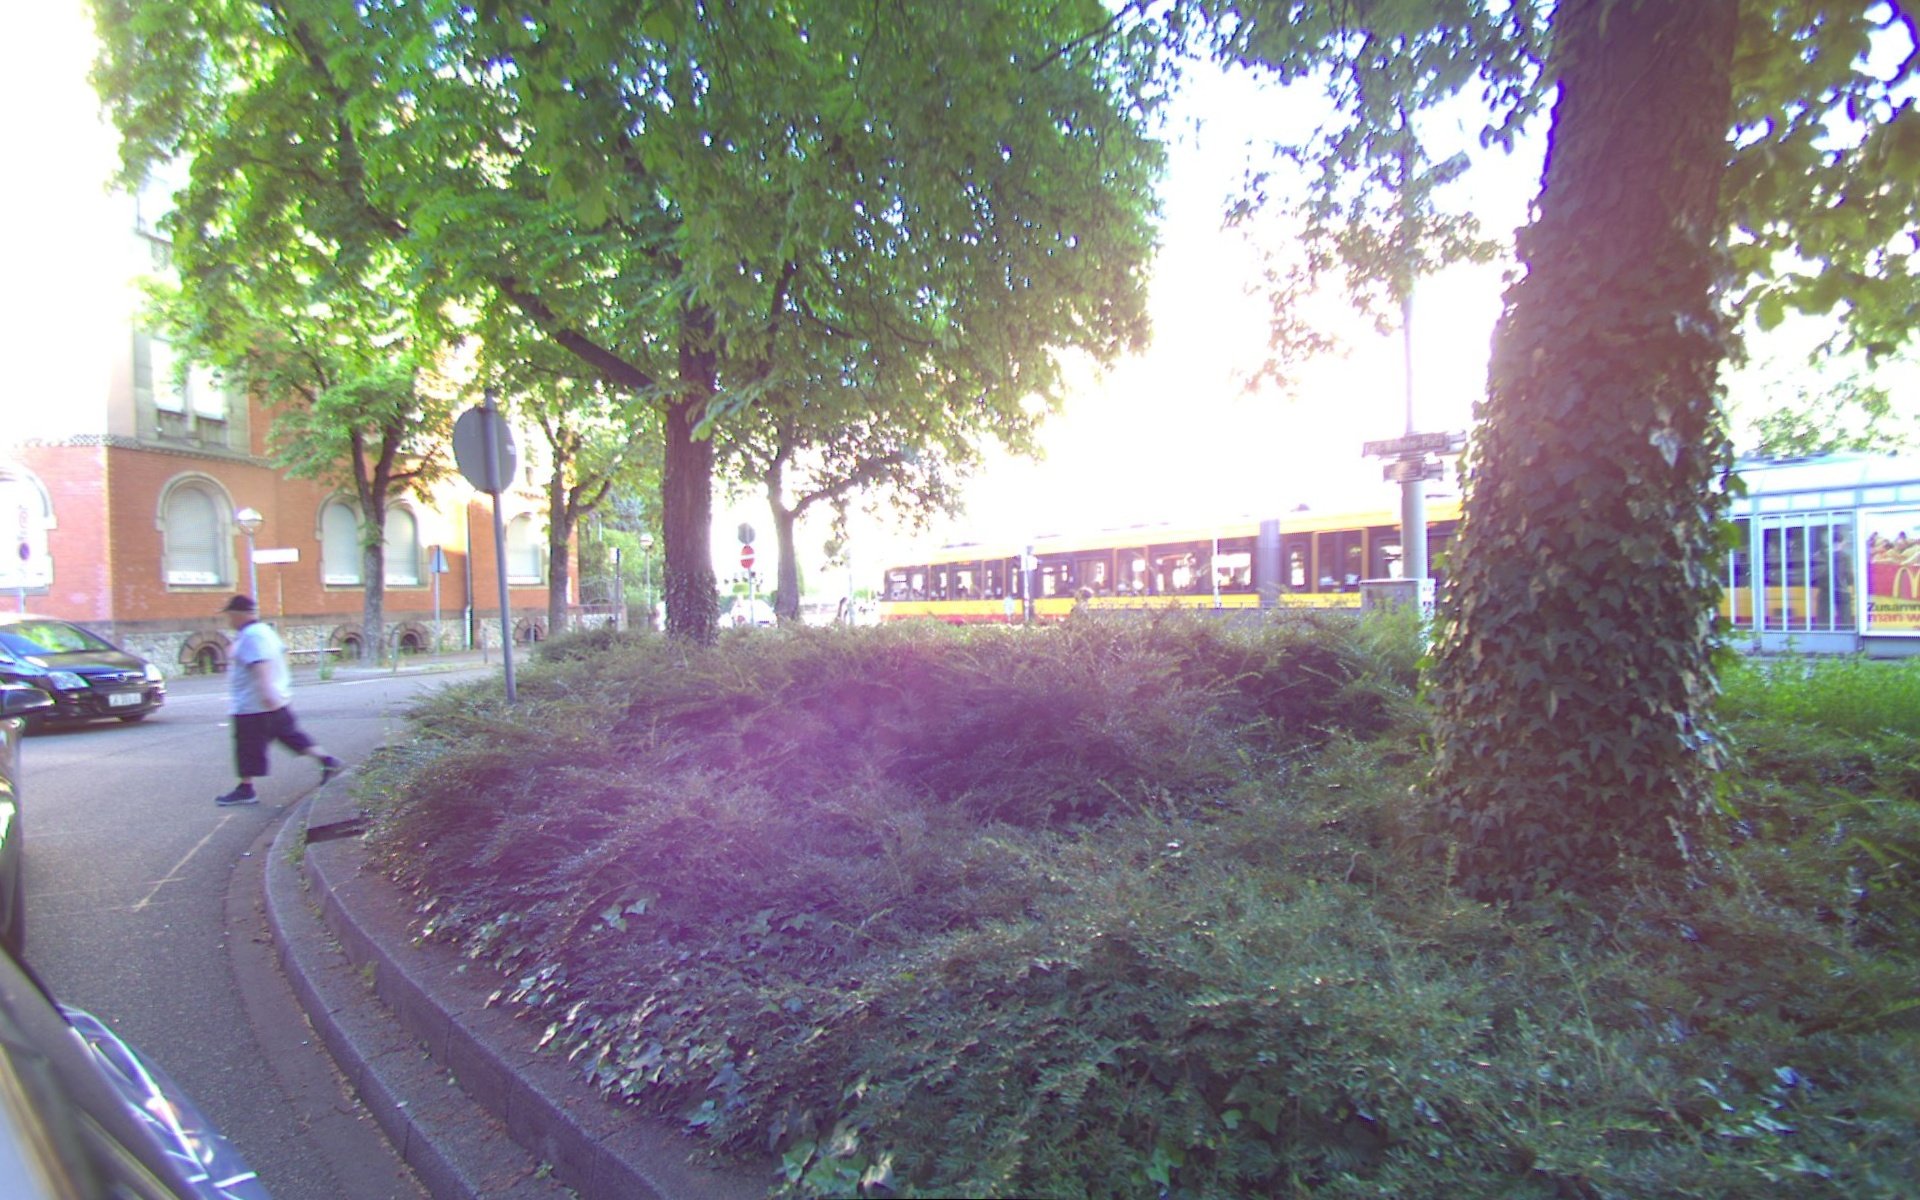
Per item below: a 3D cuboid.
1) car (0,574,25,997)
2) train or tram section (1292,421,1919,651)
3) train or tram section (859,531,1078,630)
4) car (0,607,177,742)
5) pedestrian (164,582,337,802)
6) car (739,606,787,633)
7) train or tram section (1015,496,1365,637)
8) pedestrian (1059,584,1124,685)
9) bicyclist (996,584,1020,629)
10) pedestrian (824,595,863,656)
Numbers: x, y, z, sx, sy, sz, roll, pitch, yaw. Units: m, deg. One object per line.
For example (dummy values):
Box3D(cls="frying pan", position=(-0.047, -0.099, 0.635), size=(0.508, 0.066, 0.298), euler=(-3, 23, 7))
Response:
Box3D(cls="car", position=(-5.682, 0.751, 4.796), size=(1.768, 1.590, 4.264), euler=(-1, -1, -44))
Box3D(cls="train or tram section", position=(12.911, -0.978, 21.769), size=(2.753, 3.647, 11.834), euler=(-2, 0, -32))
Box3D(cls="train or tram section", position=(-0.157, -0.656, 42.716), size=(2.727, 3.584, 12.718), euler=(-2, 0, -32))
Box3D(cls="car", position=(-12.953, 0.989, 13.515), size=(3.634, 1.640, 1.681), euler=(-2, 0, -2))
Box3D(cls="pedestrian", position=(-5.549, 0.683, 7.968), size=(0.929, 1.604, 0.644), euler=(-2, 0, -18))
Box3D(cls="car", position=(-11.095, 1.083, 56.944), size=(1.707, 1.428, 4.013), euler=(-2, 0, -25))
Box3D(cls="train or tram section", position=(6.493, -0.824, 32.049), size=(2.739, 3.614, 12.456), euler=(-2, 0, -32))
Box3D(cls="pedestrian", position=(1.959, 0.501, 15.098), size=(0.698, 1.454, 0.602), euler=(-2, 0, -25))
Box3D(cls="bicyclist", position=(1.709, 0.226, 35.807), size=(0.588, 1.585, 0.557), euler=(-2, 0, -30))
Box3D(cls="pedestrian", position=(-3.342, 0.719, 29.029), size=(0.719, 1.647, 0.900), euler=(-3, 1, 16))
